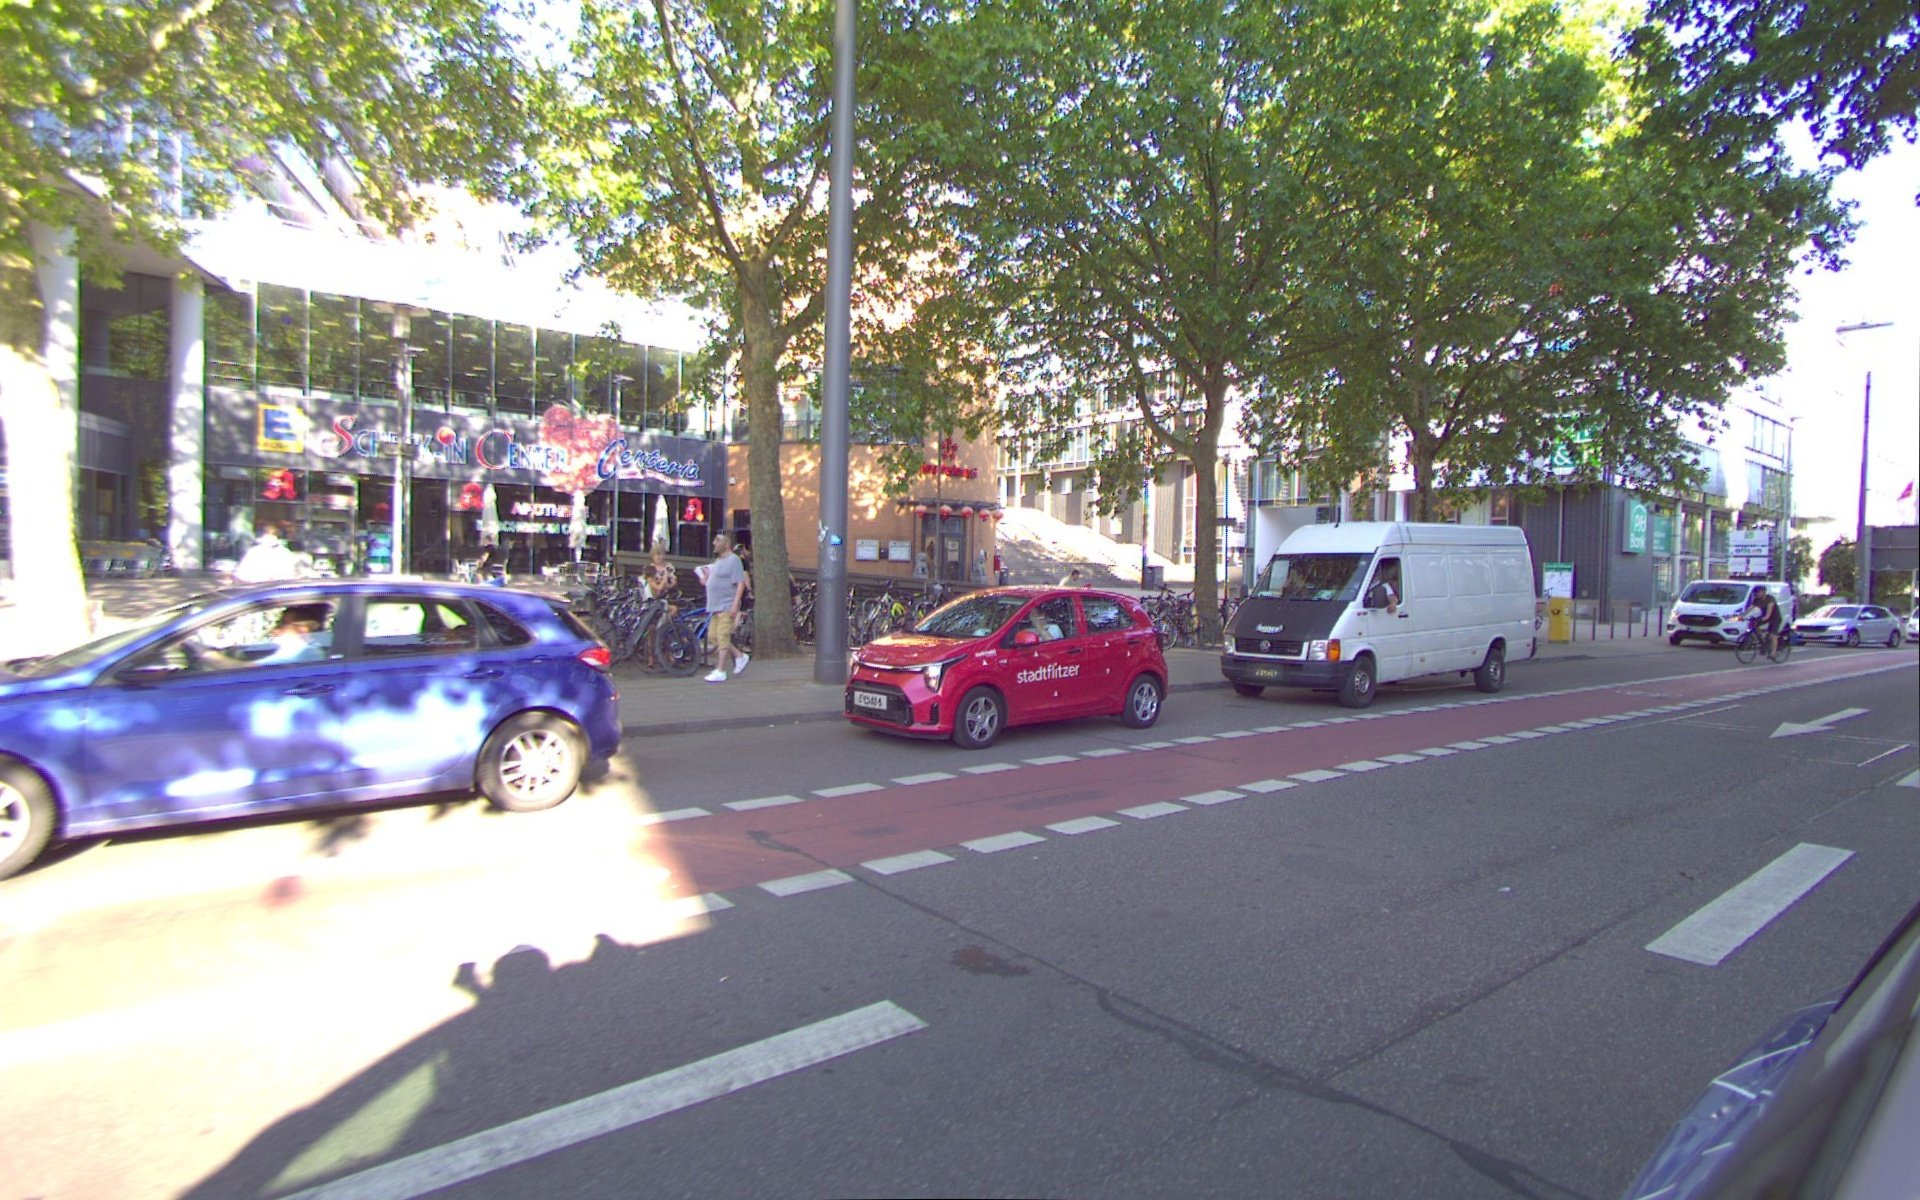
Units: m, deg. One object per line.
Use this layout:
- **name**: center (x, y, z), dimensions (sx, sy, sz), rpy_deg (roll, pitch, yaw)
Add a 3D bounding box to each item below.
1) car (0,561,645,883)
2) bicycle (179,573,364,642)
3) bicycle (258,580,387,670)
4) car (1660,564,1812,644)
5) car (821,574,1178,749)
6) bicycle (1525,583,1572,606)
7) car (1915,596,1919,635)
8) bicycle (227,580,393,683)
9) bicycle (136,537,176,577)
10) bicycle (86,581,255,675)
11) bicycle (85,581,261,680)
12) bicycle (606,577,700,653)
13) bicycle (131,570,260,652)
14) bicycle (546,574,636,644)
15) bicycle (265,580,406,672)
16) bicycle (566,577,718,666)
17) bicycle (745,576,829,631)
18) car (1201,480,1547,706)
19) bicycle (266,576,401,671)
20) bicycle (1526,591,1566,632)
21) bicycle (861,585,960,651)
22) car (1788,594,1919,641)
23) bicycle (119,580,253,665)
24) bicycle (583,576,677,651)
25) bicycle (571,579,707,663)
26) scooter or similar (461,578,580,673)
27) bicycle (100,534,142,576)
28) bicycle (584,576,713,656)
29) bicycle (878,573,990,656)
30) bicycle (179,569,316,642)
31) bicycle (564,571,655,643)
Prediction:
- **car**: center (-4.274, 0.546, 6.160), dimensions (4.145, 1.482, 1.768), rpy_deg (0, 3, -42)
- **bicycle**: center (-10.042, 0.105, 14.830), dimensions (2.138, 0.945, 0.669), rpy_deg (1, 1, -13)
- **bicycle**: center (-8.730, 0.327, 13.895), dimensions (1.450, 1.174, 0.421), rpy_deg (0, 2, -40)
- **car**: center (23.383, 0.088, 30.444), dimensions (5.189, 2.160, 2.131), rpy_deg (0, 2, -35)
- **car**: center (0.508, 0.499, 10.368), dimensions (3.558, 1.482, 1.561), rpy_deg (0, 1, -41)
- **bicycle**: center (29.397, -0.282, 50.544), dimensions (0.687, 1.076, 1.880), rpy_deg (0, 3, -38)
- **car**: center (37.688, 0.623, 38.555), dimensions (1.666, 1.482, 3.812), rpy_deg (3, 2, 41)
- **bicycle**: center (-7.335, 0.332, 11.463), dimensions (1.542, 1.070, 0.630), rpy_deg (0, 2, -35)
- **bicycle**: center (-23.631, -1.275, 29.760), dimensions (0.705, 1.142, 1.921), rpy_deg (1, 2, -33)
- **bicycle**: center (-9.294, 0.303, 11.952), dimensions (1.546, 1.038, 0.461), rpy_deg (0, 2, -44)
- **bicycle**: center (-8.947, 0.321, 11.540), dimensions (1.546, 1.038, 0.461), rpy_deg (0, 2, -44)
- **bicycle**: center (-4.998, 0.225, 16.528), dimensions (0.420, 1.174, 1.455), rpy_deg (3, 2, 41)
- **bicycle**: center (-10.107, 0.140, 13.415), dimensions (1.293, 1.038, 0.397), rpy_deg (1, 2, -25)
- **bicycle**: center (-6.479, 0.148, 17.813), dimensions (0.420, 1.174, 1.455), rpy_deg (3, 2, 41)
- **bicycle**: center (-7.815, 0.305, 12.699), dimensions (1.451, 1.095, 0.421), rpy_deg (0, 2, -42)
- **bicycle**: center (-4.260, 0.284, 13.671), dimensions (1.908, 1.130, 0.599), rpy_deg (1, 2, -13)
- **bicycle**: center (-3.853, 0.064, 22.585), dimensions (1.736, 1.174, 0.579), rpy_deg (0, 2, -35)
- **car**: center (6.432, -0.107, 15.189), dimensions (6.443, 2.758, 1.998), rpy_deg (0, 0, -39)
- **bicycle**: center (-8.182, 0.281, 13.251), dimensions (1.451, 1.174, 0.421), rpy_deg (0, 2, -42)
- **bicycle**: center (17.674, 0.339, 30.513), dimensions (1.511, 1.172, 0.514), rpy_deg (0, 2, -39)
- **bicycle**: center (-0.826, 0.287, 17.089), dimensions (1.626, 1.044, 0.596), rpy_deg (0, 2, -41)
- **car**: center (30.145, 0.570, 34.078), dimensions (3.937, 1.437, 1.791), rpy_deg (1, 2, -22)
- **bicycle**: center (-9.866, 0.277, 12.934), dimensions (1.293, 1.038, 0.397), rpy_deg (1, 2, -25)
- **bicycle**: center (-5.462, 0.209, 16.810), dimensions (0.420, 1.174, 1.455), rpy_deg (3, 2, 41)
- **bicycle**: center (-4.532, 0.293, 14.395), dimensions (1.788, 1.130, 0.599), rpy_deg (1, 2, -13)
- **scooter or similar**: center (-5.760, 0.325, 13.254), dimensions (1.249, 1.156, 0.905), rpy_deg (-1, 1, 37)
- **bicycle**: center (-24.271, -1.308, 29.308), dimensions (0.705, 1.142, 1.921), rpy_deg (1, 2, -33)
- **bicycle**: center (-4.635, 0.234, 15.152), dimensions (1.788, 1.130, 0.610), rpy_deg (1, 2, -13)
- **bicycle**: center (-0.406, 0.220, 16.583), dimensions (1.843, 1.279, 0.596), rpy_deg (0, 2, -41)
- **bicycle**: center (-11.597, 0.085, 16.526), dimensions (1.741, 1.140, 0.569), rpy_deg (1, 2, -25)
- **bicycle**: center (-5.995, 0.100, 17.349), dimensions (0.420, 1.174, 1.455), rpy_deg (3, 2, 41)
